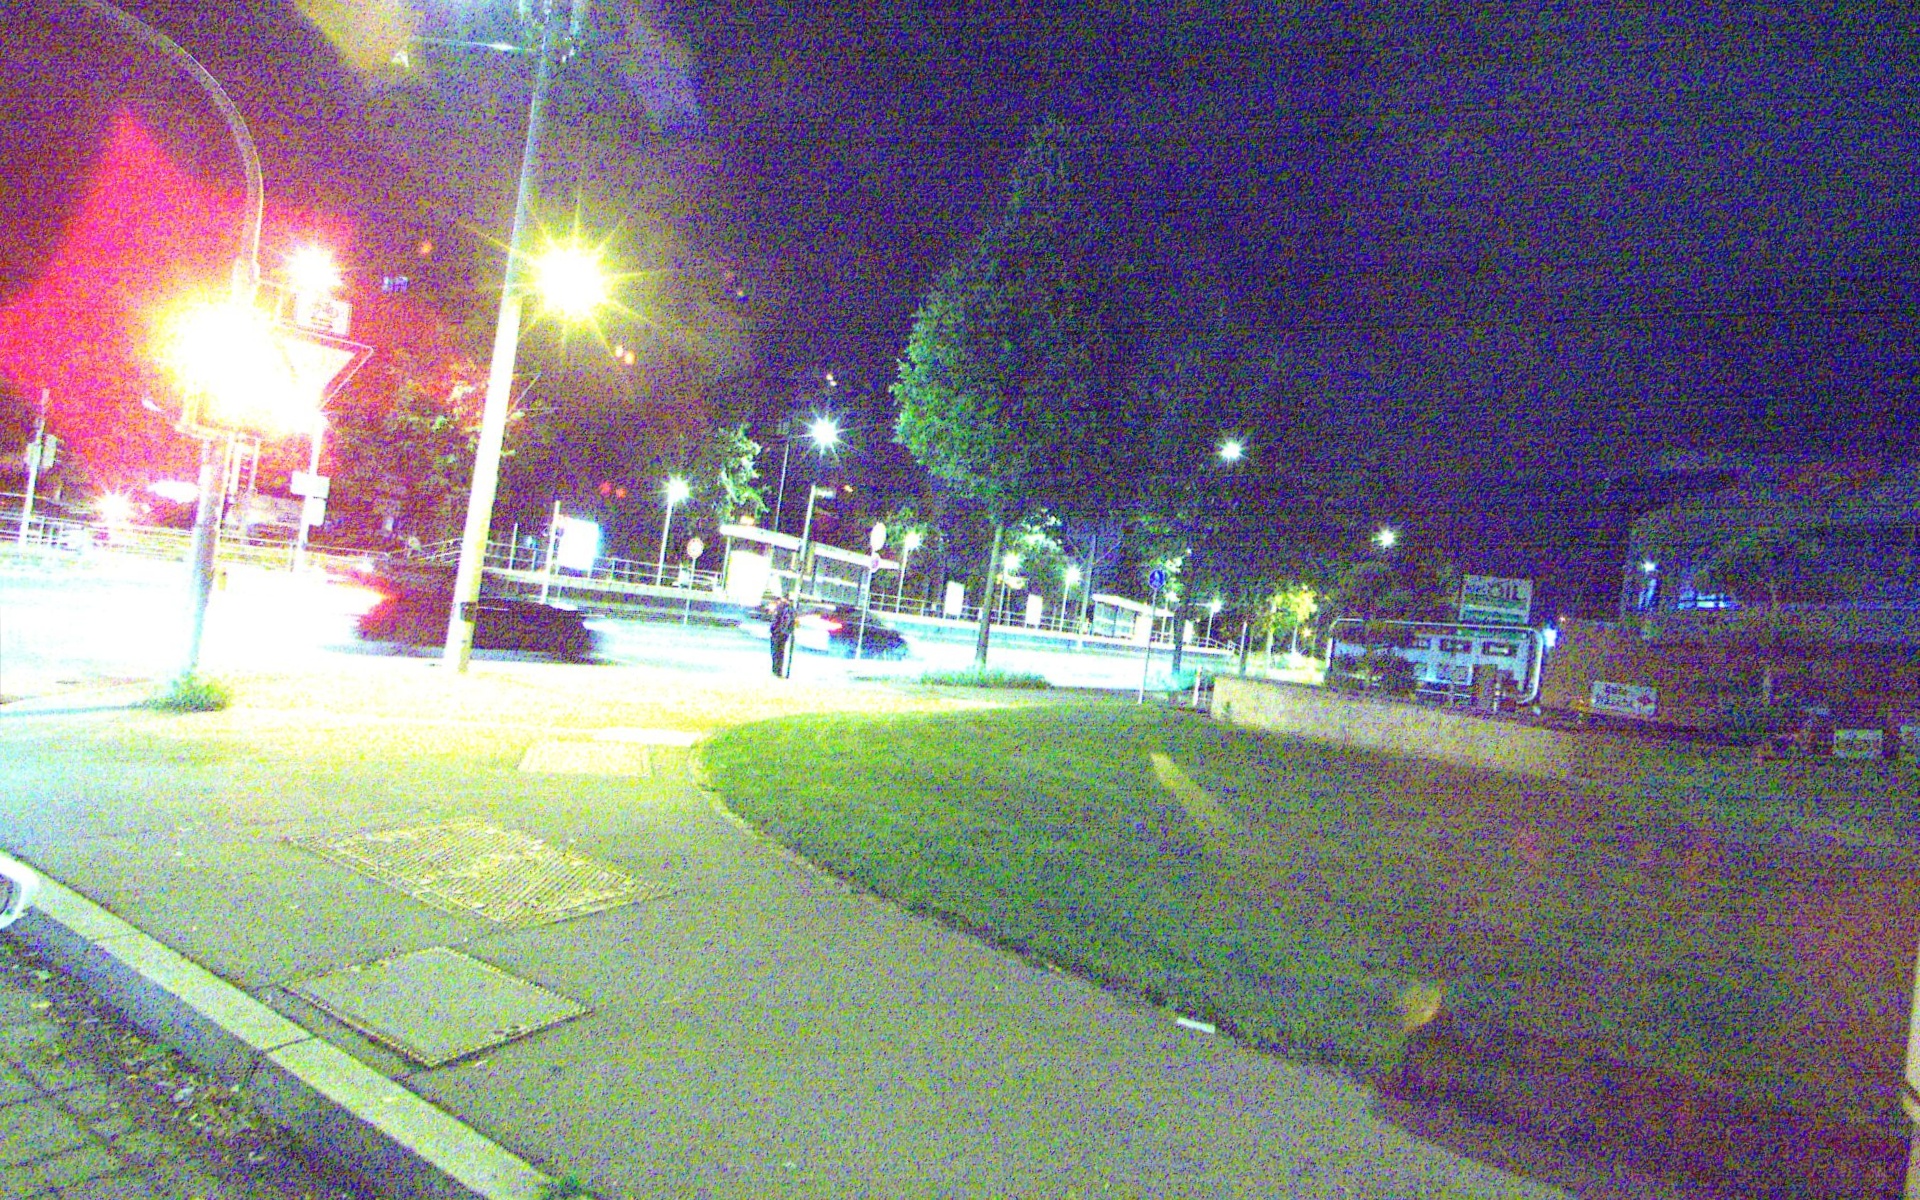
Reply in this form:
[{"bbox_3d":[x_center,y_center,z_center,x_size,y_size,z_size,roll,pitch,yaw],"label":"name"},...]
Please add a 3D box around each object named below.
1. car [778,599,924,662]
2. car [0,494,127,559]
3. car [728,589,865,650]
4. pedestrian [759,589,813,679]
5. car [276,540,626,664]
[{"bbox_3d":[-3.215,0.982,30.677,1.717,1.438,4.572,10,2,35],"label":"car"},{"bbox_3d":[-26.580,-2.194,27.945,1.822,1.437,4.943,6,-1,35],"label":"car"},{"bbox_3d":[-5.296,0.668,33.094,1.719,1.437,4.248,9,0,39],"label":"car"},{"bbox_3d":[-3.390,0.648,19.571,0.867,1.677,0.835,2,1,-18],"label":"pedestrian"},{"bbox_3d":[-8.303,0.126,16.925,1.717,1.491,4.924,8,-1,35],"label":"car"}]
